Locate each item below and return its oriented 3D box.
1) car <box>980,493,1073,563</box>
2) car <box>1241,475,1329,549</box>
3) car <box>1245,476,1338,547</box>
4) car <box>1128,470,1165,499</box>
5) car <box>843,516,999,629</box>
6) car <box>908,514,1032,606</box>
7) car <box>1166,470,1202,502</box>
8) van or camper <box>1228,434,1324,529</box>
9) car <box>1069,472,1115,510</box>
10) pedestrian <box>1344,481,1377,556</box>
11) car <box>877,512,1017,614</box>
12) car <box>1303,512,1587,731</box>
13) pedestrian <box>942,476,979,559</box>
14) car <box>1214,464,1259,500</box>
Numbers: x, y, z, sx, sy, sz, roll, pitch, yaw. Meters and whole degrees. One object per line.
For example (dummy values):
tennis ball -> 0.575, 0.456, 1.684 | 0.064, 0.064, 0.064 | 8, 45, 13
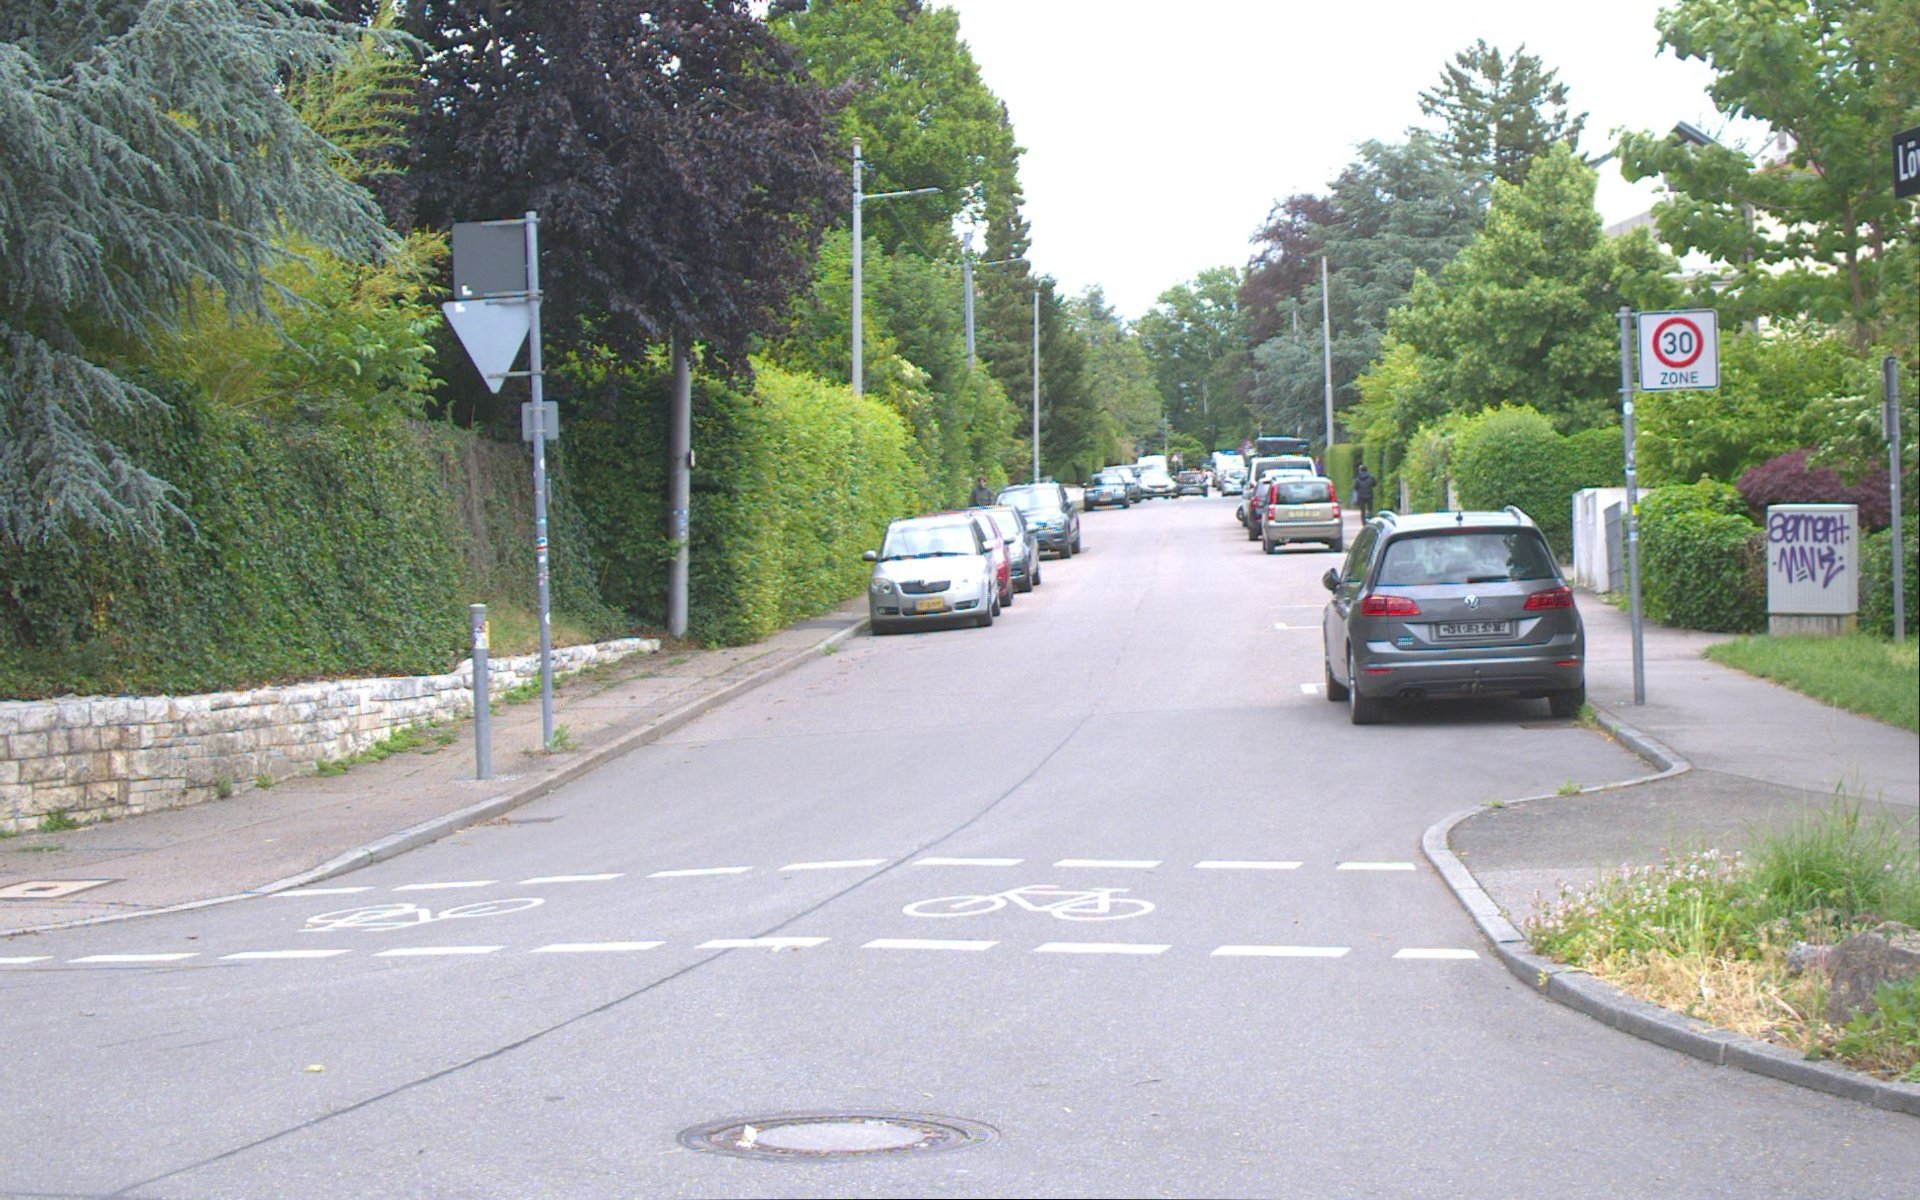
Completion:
car -> 1.471, -1.587, 75.320 | 1.946, 1.437, 4.000 | -2, 1, 2
car -> 7.482, -2.021, 79.420 | 1.747, 1.634, 3.728 | -2, 1, 2
car -> 6.737, -1.801, 70.197 | 1.609, 1.409, 3.473 | 0, 1, 1
car -> 8.676, -5.352, 159.726 | 1.655, 1.330, 3.780 | 1, 1, 4
car -> -0.490, -0.412, 47.170 | 1.946, 1.437, 4.000 | -2, 1, 2
car -> 0.201, -0.701, 57.788 | 1.946, 1.437, 4.000 | -2, 1, 2
car -> 11.868, -6.050, 182.372 | 1.815, 1.568, 4.000 | -2, 1, 3
van or camper -> 8.416, -3.134, 92.015 | 2.112, 2.396, 5.246 | -2, 1, 1
car -> 5.210, -4.286, 135.353 | 1.715, 1.458, 3.656 | 0, 1, 4
pedestrian -> 9.976, -2.039, 85.660 | 0.757, 1.865, 0.620 | 0, 1, 4
car -> -0.158, -0.586, 52.306 | 1.946, 1.437, 4.000 | -2, 1, 2
car -> 3.726, 0.108, 27.020 | 1.817, 1.531, 4.000 | -2, 1, 3
pedestrian -> 0.006, -2.034, 84.682 | 0.853, 2.007, 0.873 | 0, 1, -2
car -> 14.318, -6.090, 177.996 | 1.940, 1.790, 4.195 | 0, 1, 0
